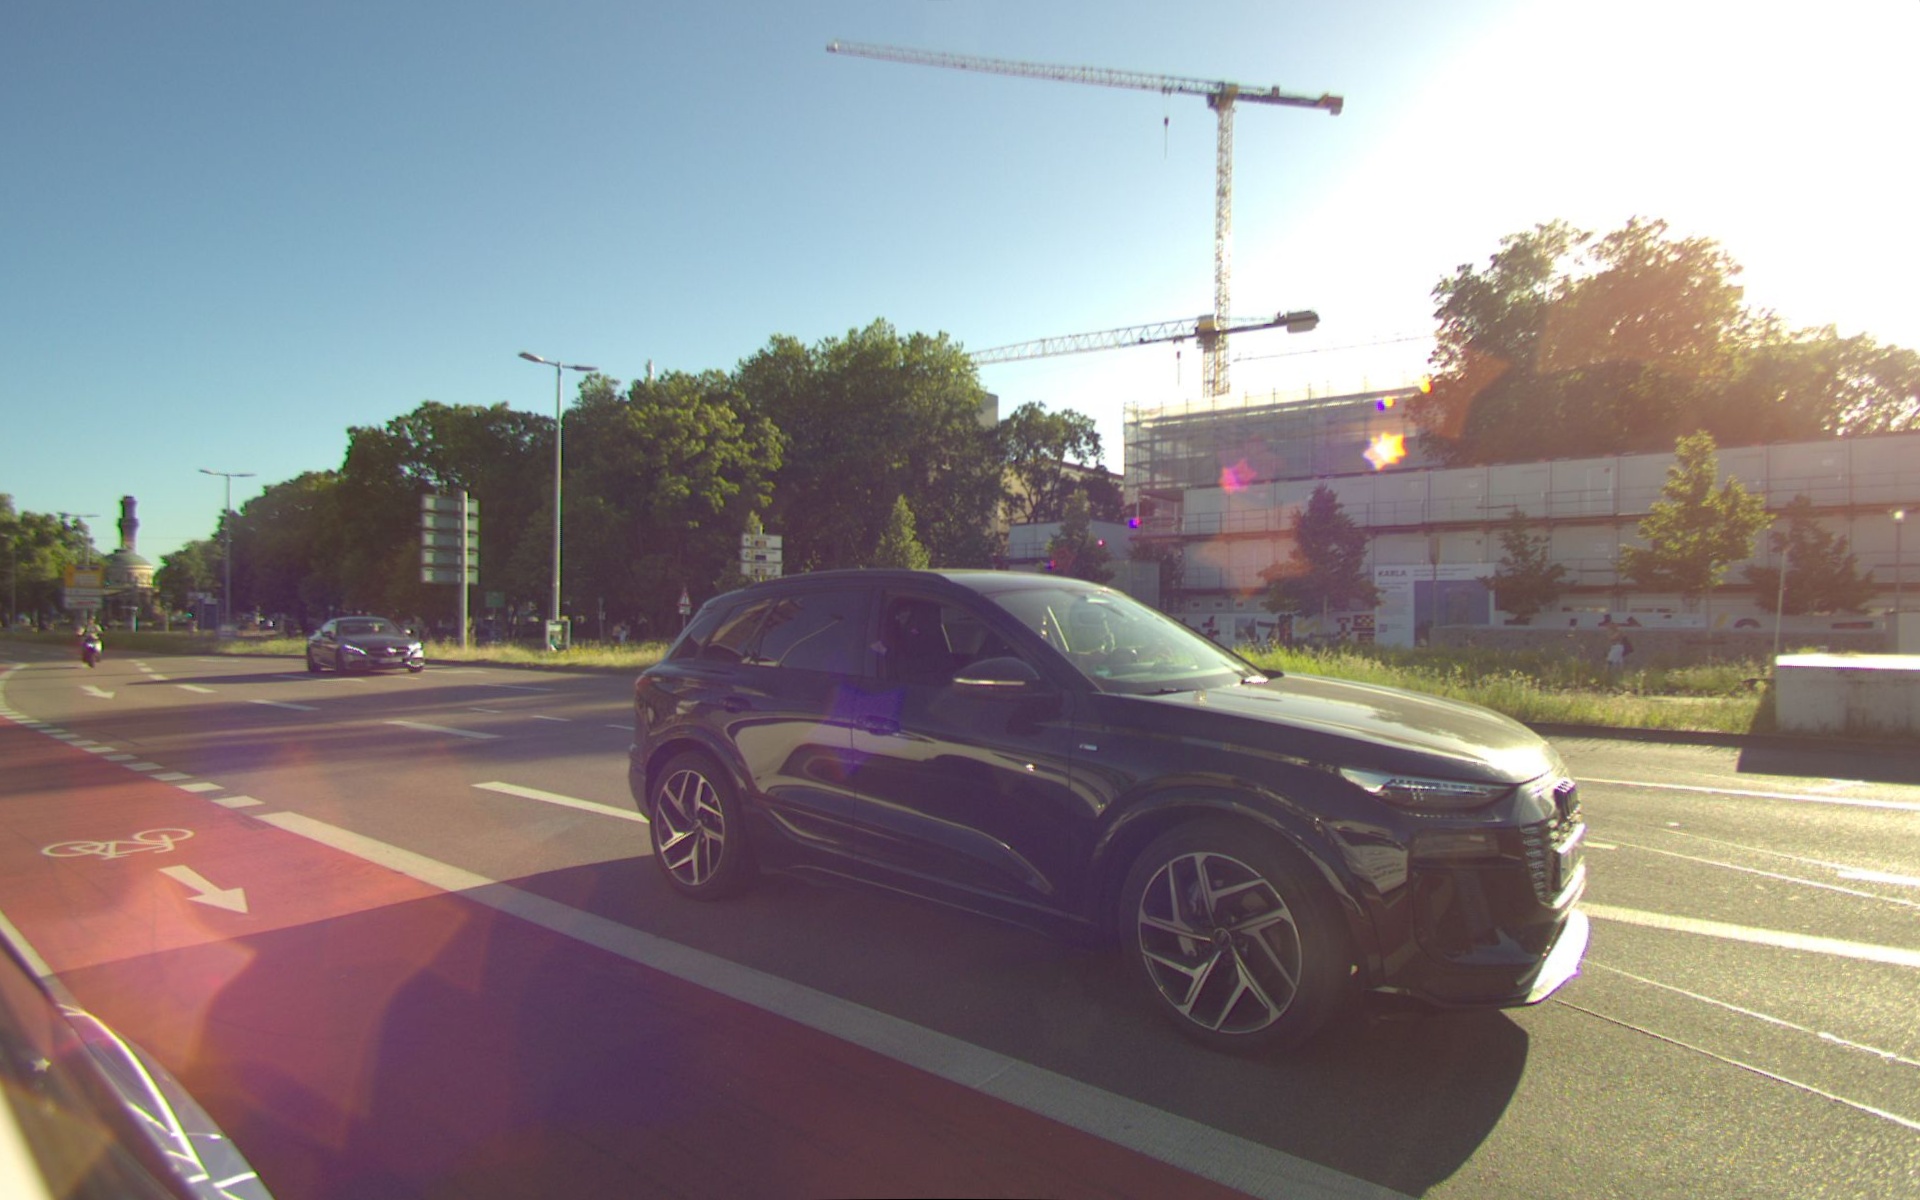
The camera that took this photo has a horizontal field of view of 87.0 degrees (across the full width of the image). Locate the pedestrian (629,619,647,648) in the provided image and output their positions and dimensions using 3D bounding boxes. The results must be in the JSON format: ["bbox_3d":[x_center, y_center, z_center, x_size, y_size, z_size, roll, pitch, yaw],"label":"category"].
[{"bbox_3d":[-18.901,1.962,59.333,0.762,1.738,0.698,-1,-2,41],"label":"pedestrian"}]

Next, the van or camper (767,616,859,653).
[{"bbox_3d":[-8.937,2.063,61.951,1.948,2.029,5.576,-1,0,42],"label":"van or camper"}]

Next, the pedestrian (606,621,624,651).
[{"bbox_3d":[-19.723,2.061,57.857,0.762,1.738,0.698,-1,-2,41],"label":"pedestrian"}]

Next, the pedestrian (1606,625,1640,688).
[{"bbox_3d":[18.056,1.524,27.560,0.626,1.665,0.930,-1,-2,41],"label":"pedestrian"}]

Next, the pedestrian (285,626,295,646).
[{"bbox_3d":[-63.588,3.415,96.006,0.733,1.862,0.561,-1,-2,40],"label":"pedestrian"}]

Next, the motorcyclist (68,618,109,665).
[{"bbox_3d":[-27.575,1.290,32.017,0.960,1.424,1.060,-1,-1,-42],"label":"motorcyclist"}]

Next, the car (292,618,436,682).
[{"bbox_3d":[-15.040,1.198,25.448,4.489,1.417,1.971,-1,0,44],"label":"car"}]

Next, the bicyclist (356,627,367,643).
[{"bbox_3d":[-48.847,2.840,82.573,0.714,1.291,0.603,-1,-2,40],"label":"bicyclist"}]

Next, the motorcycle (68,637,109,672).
[{"bbox_3d":[-27.686,1.710,32.137,0.960,1.022,2.270,-1,-1,-42],"label":"motorcycle"}]

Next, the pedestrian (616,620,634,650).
[{"bbox_3d":[-19.356,2.007,58.504,0.762,1.738,0.656,-1,-2,41],"label":"pedestrian"}]

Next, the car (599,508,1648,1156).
[{"bbox_3d":[0.389,0.639,4.823,4.612,1.656,1.913,-1,-1,40],"label":"car"}]

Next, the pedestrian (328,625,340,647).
[{"bbox_3d":[-54.257,3.091,87.753,0.924,1.862,0.620,-1,-2,40],"label":"pedestrian"}]
